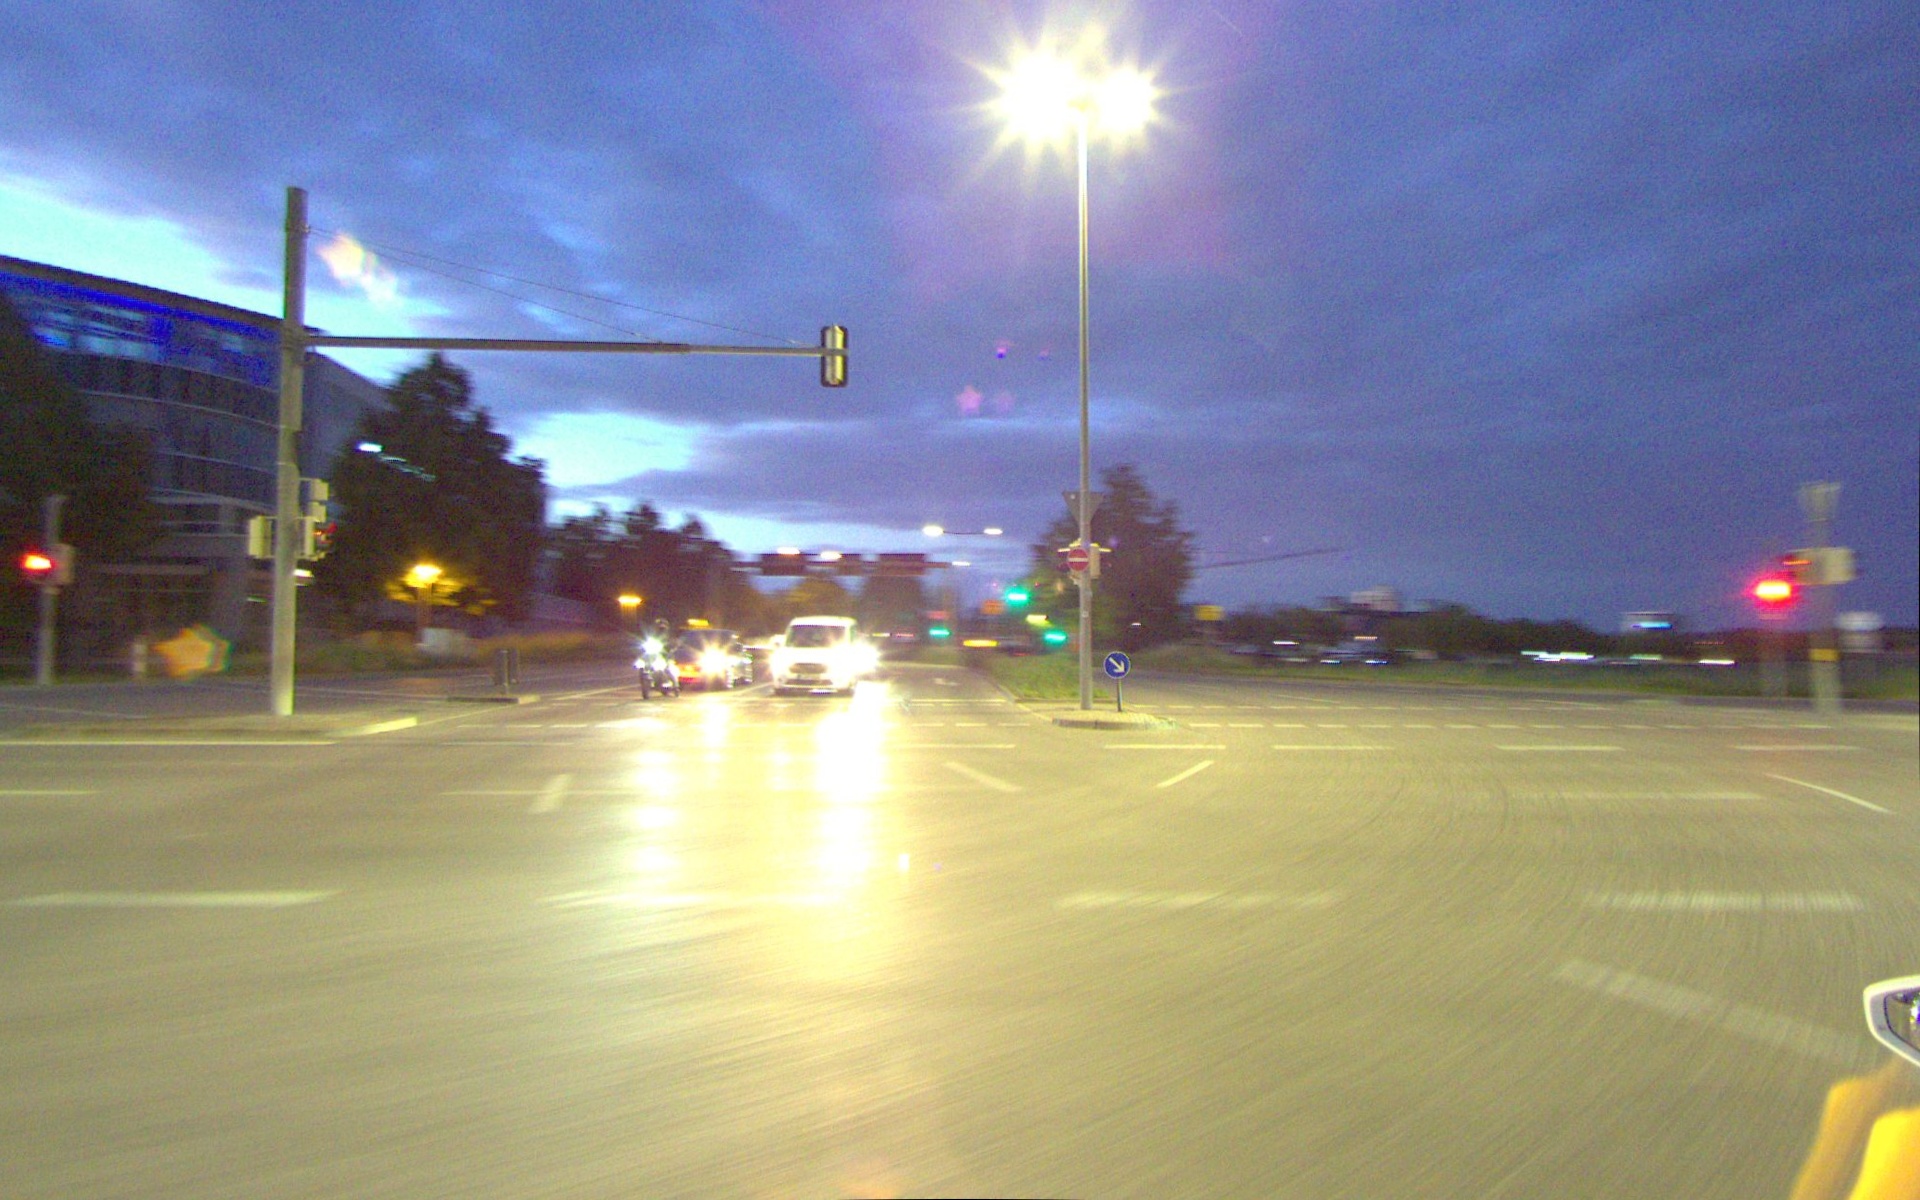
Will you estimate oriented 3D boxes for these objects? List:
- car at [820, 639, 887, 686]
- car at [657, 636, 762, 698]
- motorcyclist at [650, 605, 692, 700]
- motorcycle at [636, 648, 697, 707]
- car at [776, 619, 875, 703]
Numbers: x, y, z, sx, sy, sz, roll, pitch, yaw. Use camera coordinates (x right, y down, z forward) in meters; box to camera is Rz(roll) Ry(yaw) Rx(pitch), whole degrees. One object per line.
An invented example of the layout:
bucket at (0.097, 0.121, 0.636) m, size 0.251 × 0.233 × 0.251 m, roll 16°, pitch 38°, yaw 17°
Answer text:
car at (-3.415, 2.019, 33.012) m, size 1.840 × 1.416 × 4.838 m, roll 0°, pitch -3°, yaw -2°
car at (-6.276, 1.649, 25.551) m, size 1.740 × 1.466 × 3.781 m, roll 0°, pitch -2°, yaw -1°
motorcyclist at (-6.276, 1.132, 21.844) m, size 0.623 × 2.040 × 0.768 m, roll 0°, pitch -2°, yaw 4°
motorcycle at (-6.293, 1.640, 21.624) m, size 0.659 × 1.179 × 1.809 m, roll 0°, pitch -2°, yaw 4°
car at (-3.158, 1.439, 24.458) m, size 1.813 × 1.838 × 4.775 m, roll 0°, pitch -2°, yaw -1°
